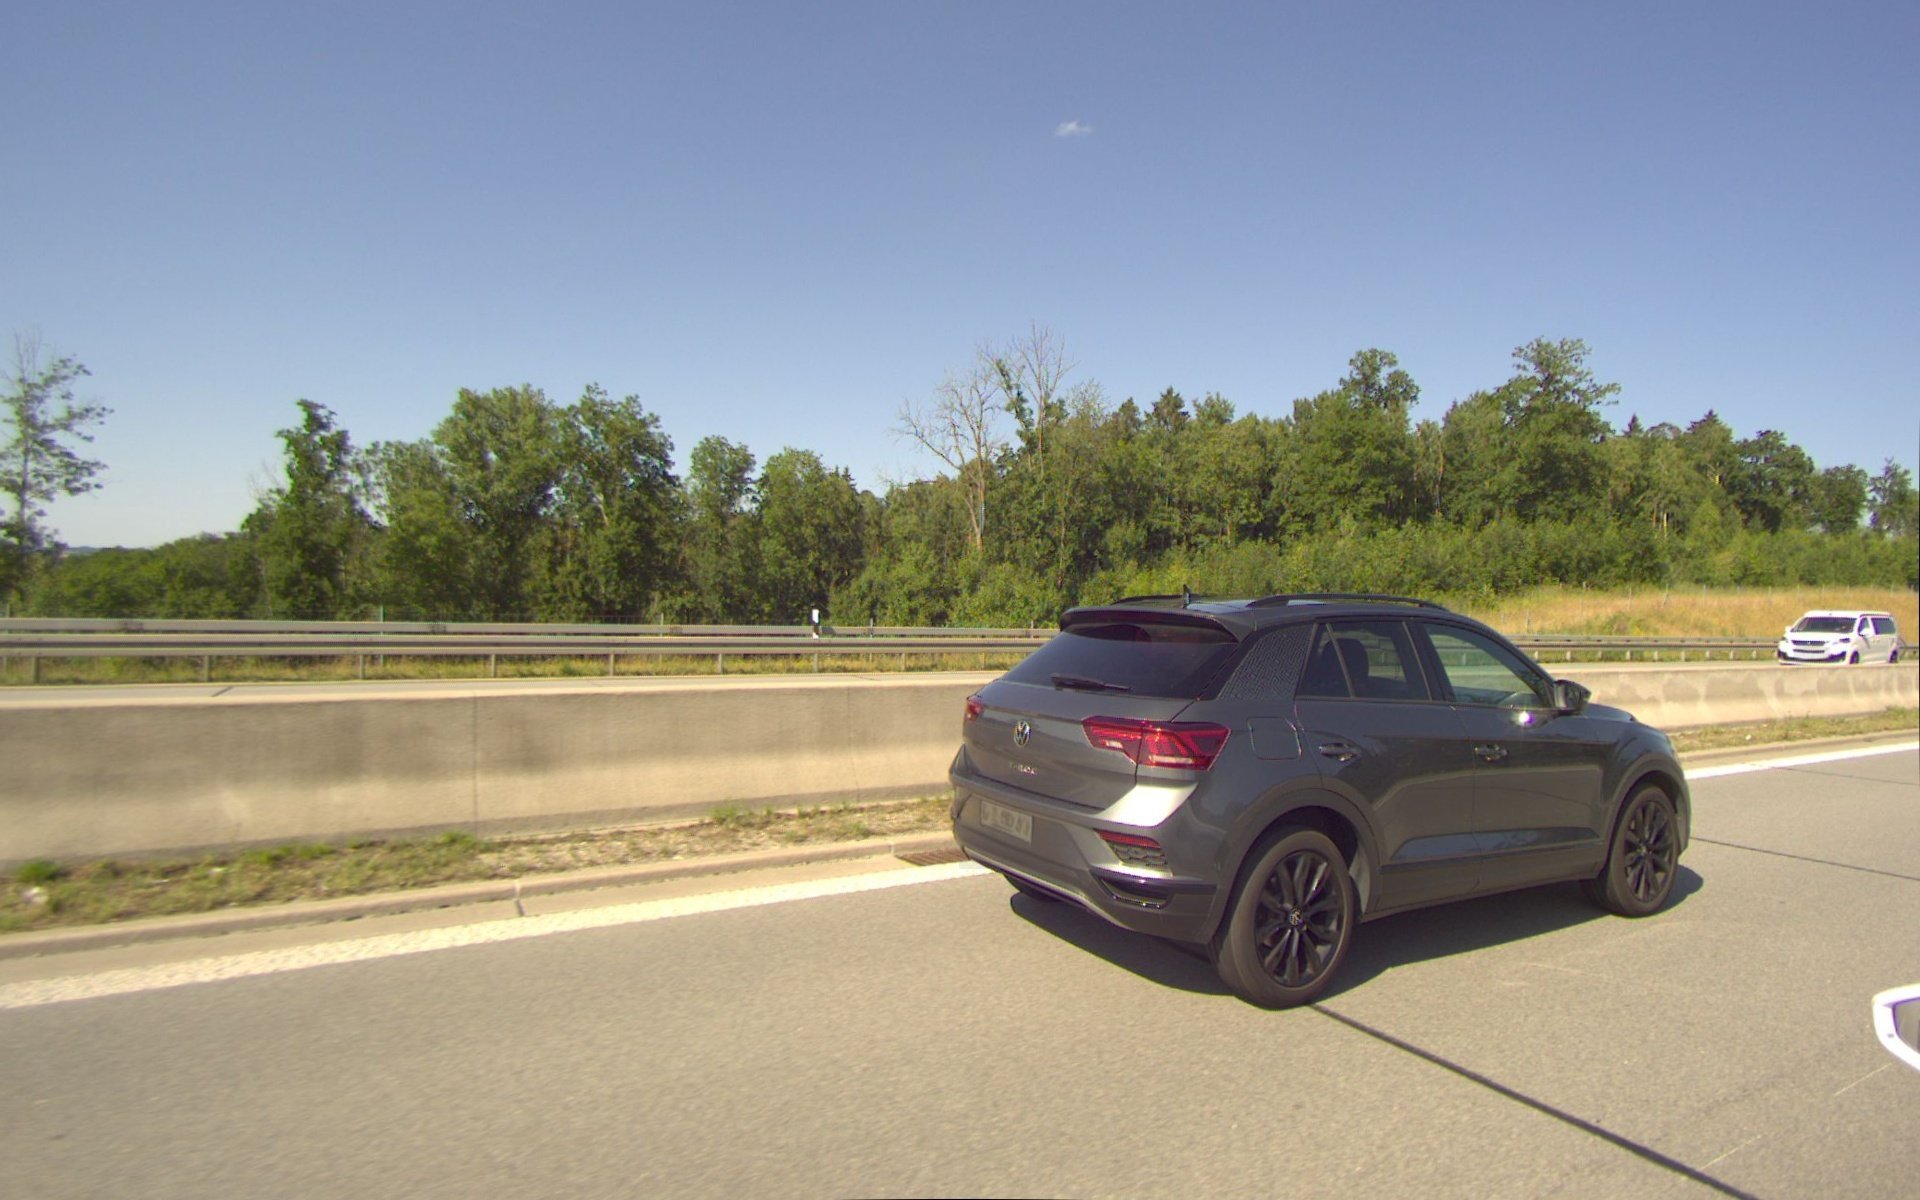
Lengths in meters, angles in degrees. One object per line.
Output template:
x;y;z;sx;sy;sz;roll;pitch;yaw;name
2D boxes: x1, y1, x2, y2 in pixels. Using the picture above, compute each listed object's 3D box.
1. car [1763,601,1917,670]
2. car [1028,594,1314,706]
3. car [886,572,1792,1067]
29.454;1.169;33.554;6.153;2.110;1.984;1;0;-30;car
3.616;0.791;16.878;4.830;1.666;1.659;1;0;-30;car
2.215;0.753;5.262;4.931;1.590;1.763;1;0;-31;car
